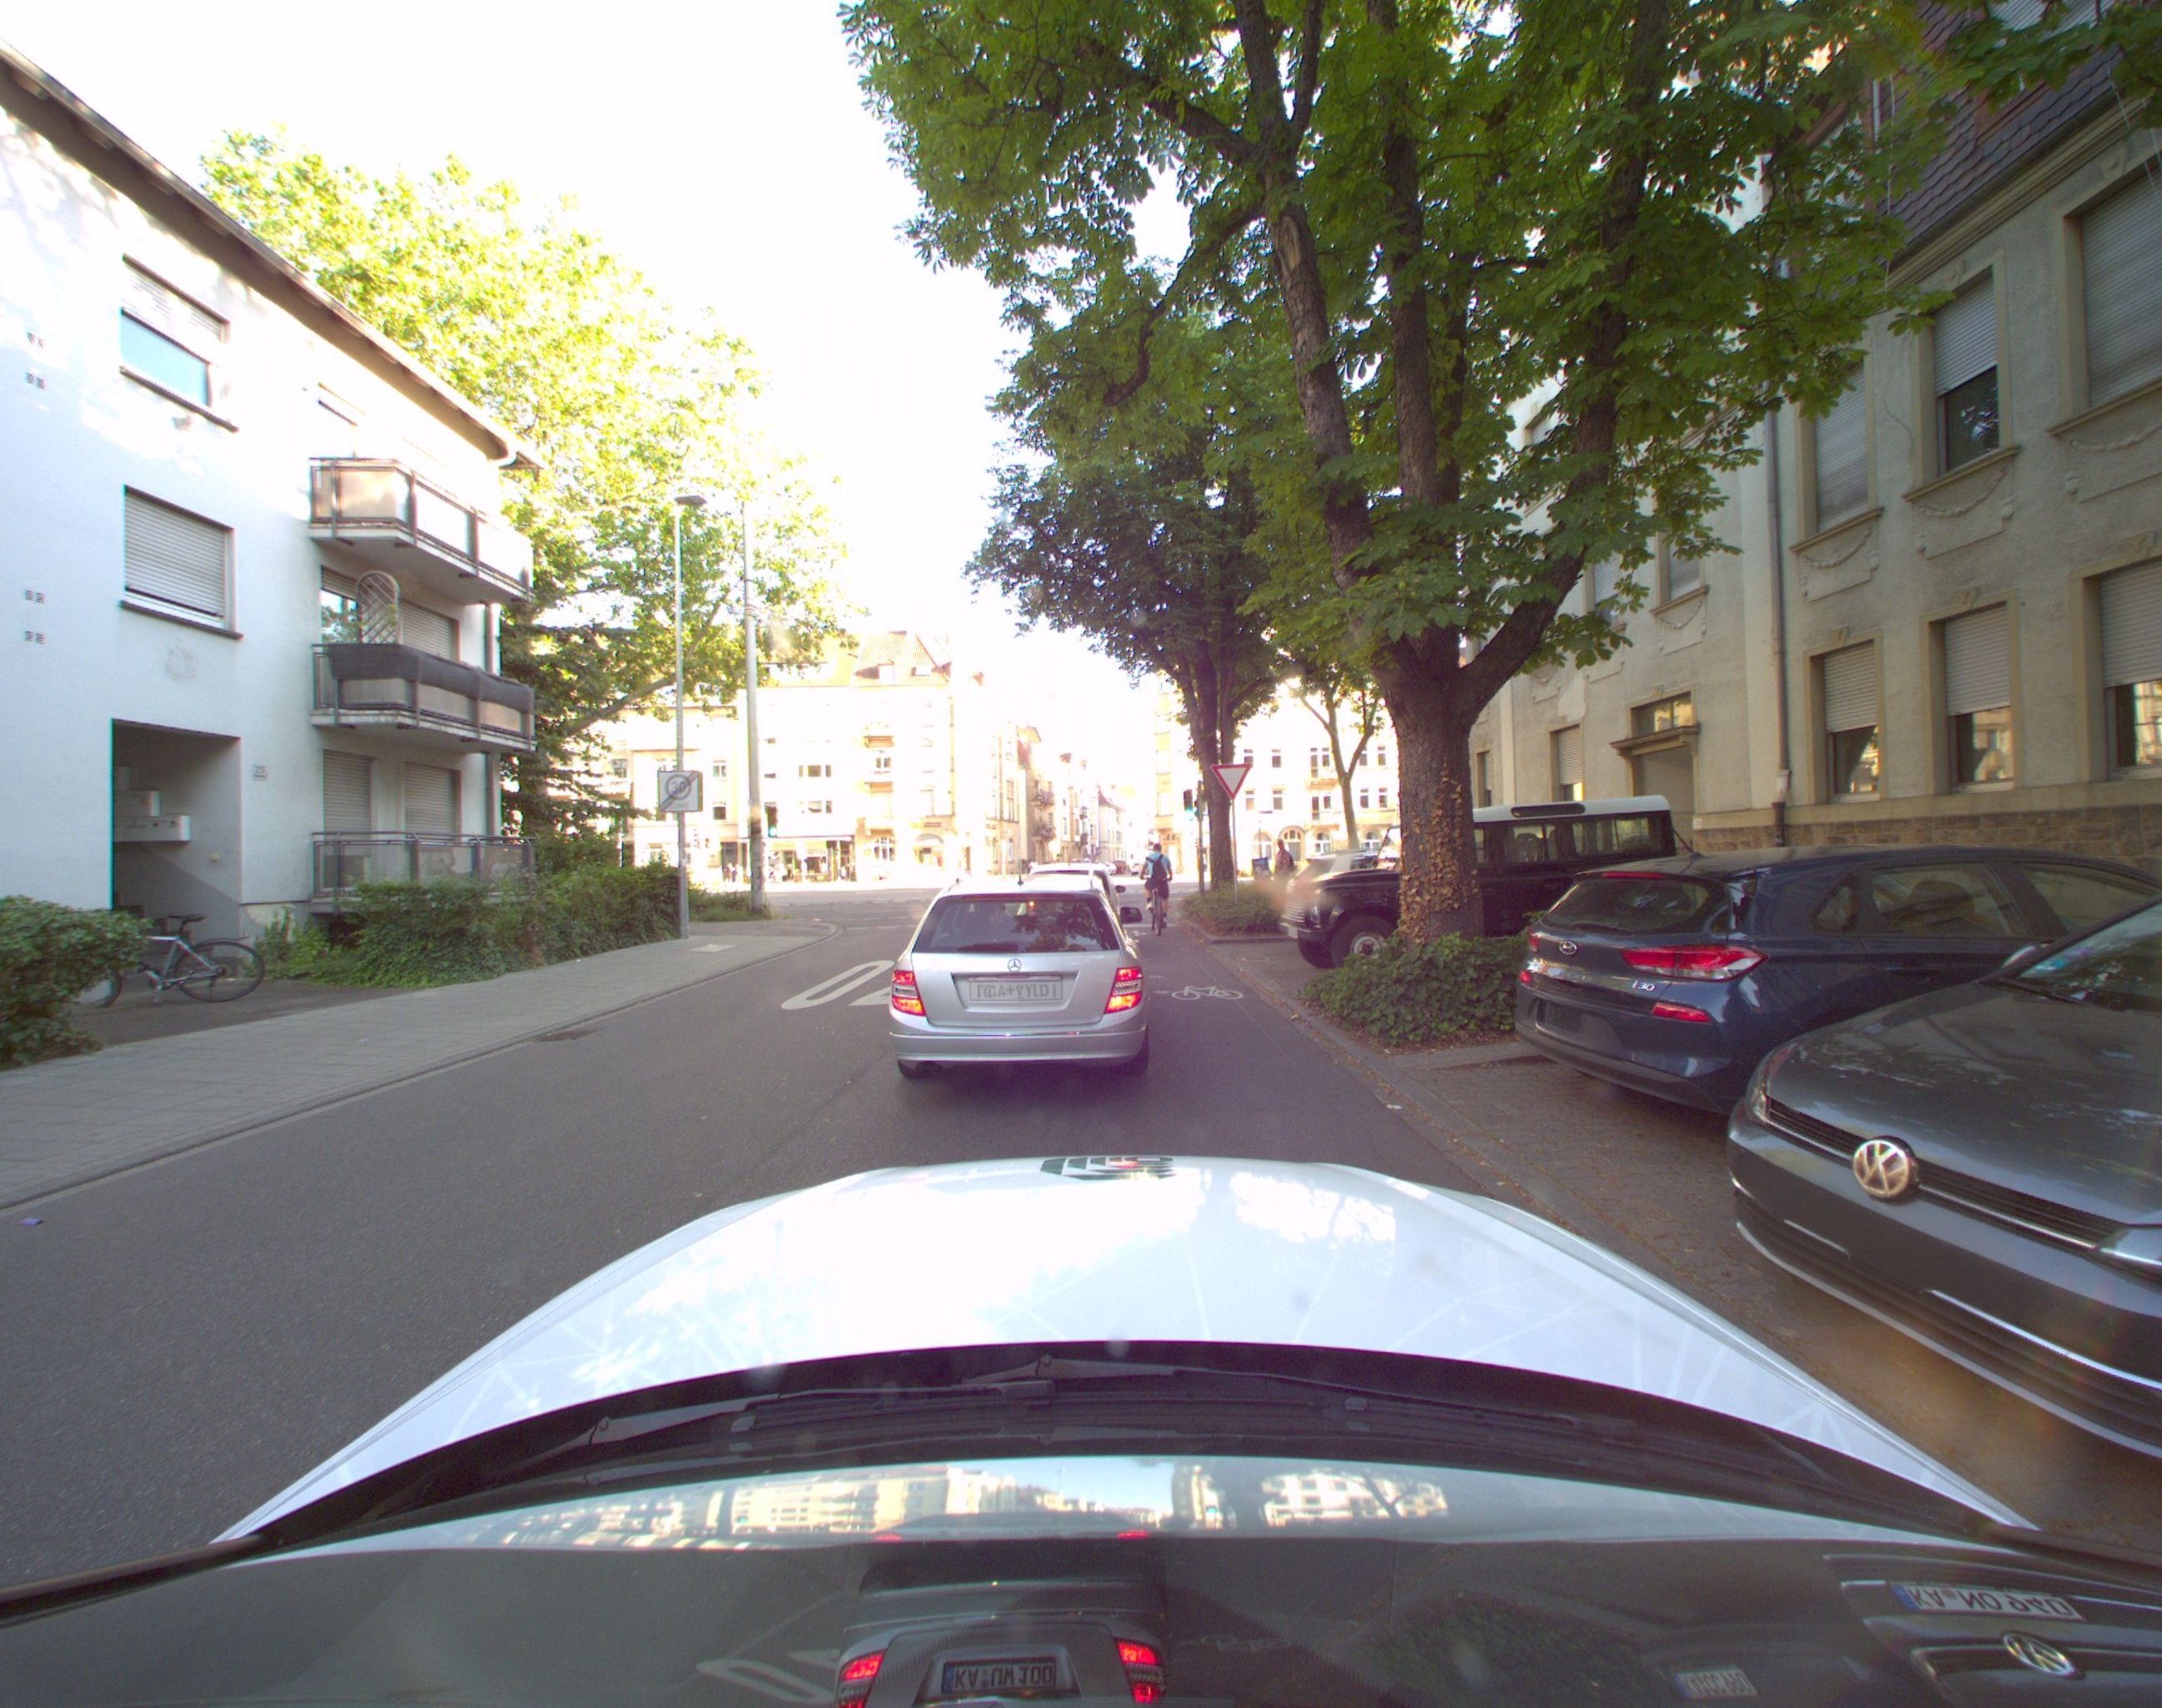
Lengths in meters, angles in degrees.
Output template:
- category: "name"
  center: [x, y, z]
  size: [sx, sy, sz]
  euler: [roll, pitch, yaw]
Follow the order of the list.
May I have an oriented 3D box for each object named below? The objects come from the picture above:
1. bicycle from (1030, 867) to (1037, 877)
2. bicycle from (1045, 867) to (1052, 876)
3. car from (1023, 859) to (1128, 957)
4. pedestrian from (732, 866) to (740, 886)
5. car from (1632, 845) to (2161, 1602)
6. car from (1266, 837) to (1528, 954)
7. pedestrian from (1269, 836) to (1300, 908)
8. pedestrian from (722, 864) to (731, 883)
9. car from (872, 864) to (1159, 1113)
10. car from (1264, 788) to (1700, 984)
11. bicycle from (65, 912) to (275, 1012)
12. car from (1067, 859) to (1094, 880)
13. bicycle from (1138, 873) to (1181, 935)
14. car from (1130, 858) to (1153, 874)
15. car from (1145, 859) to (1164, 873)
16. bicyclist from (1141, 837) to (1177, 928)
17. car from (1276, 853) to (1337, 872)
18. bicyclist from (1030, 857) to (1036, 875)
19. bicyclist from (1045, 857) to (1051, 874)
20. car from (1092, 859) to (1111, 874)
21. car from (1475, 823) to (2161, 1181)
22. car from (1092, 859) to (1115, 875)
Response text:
- category: "bicycle"
  center: [-4.275, 1.614, 72.935]
  size: [0.567, 0.834, 1.565]
  euler: [-1, 0, -1]
- category: "bicycle"
  center: [-2.958, 1.582, 73.351]
  size: [0.567, 0.834, 1.565]
  euler: [-1, 0, -1]
- category: "car"
  center: [-0.072, 0.798, 13.761]
  size: [1.528, 1.391, 3.599]
  euler: [-1, 0, 0]
- category: "pedestrian"
  center: [-27.298, 1.730, 64.478]
  size: [0.510, 1.511, 0.533]
  euler: [-1, 0, -22]
- category: "car"
  center: [4.100, 0.660, 2.242]
  size: [4.037, 1.422, 1.627]
  euler: [-3, -1, -2]
- category: "car"
  center: [4.952, 0.616, 13.057]
  size: [3.475, 1.586, 1.708]
  euler: [-3, 0, -5]
- category: "pedestrian"
  center: [5.339, 0.474, 21.404]
  size: [0.630, 1.845, 0.574]
  euler: [-1, 0, -2]
- category: "pedestrian"
  center: [-27.912, 1.522, 64.208]
  size: [0.566, 1.511, 0.499]
  euler: [-1, 0, -17]
- category: "car"
  center: [-0.403, 0.812, 6.563]
  size: [1.685, 1.429, 3.491]
  euler: [0, 0, -1]
- category: "car"
  center: [4.761, 0.355, 10.133]
  size: [4.478, 1.956, 1.792]
  euler: [-3, 0, -1]
- category: "bicycle"
  center: [-10.015, 1.155, 9.024]
  size: [1.469, 0.975, 0.402]
  euler: [2, -2, -38]
- category: "car"
  center: [0.013, 1.508, 79.861]
  size: [1.926, 1.958, 4.161]
  euler: [-2, 0, 10]
- category: "bicycle"
  center: [1.556, 0.976, 16.427]
  size: [0.739, 1.118, 2.014]
  euler: [0, 0, 2]
- category: "car"
  center: [6.391, 1.253, 85.816]
  size: [1.708, 1.478, 4.016]
  euler: [-3, 0, 14]
- category: "car"
  center: [9.229, 1.491, 101.970]
  size: [1.709, 1.478, 4.016]
  euler: [-6, -1, 14]
- category: "bicyclist"
  center: [1.562, 0.558, 16.401]
  size: [0.644, 1.775, 0.831]
  euler: [0, -1, 1]
- category: "car"
  center: [13.633, 0.501, 49.317]
  size: [3.352, 1.069, 1.380]
  euler: [-2, 0, 0]
- category: "bicyclist"
  center: [-4.284, 1.074, 73.044]
  size: [0.465, 1.514, 0.655]
  euler: [-1, 0, -2]
- category: "bicyclist"
  center: [-3.000, 1.050, 73.411]
  size: [0.465, 1.521, 0.693]
  euler: [-1, 0, -2]
- category: "car"
  center: [2.596, 1.570, 102.754]
  size: [1.639, 1.783, 3.876]
  euler: [-1, -1, 13]
- category: "car"
  center: [4.438, 0.629, 4.443]
  size: [3.739, 1.422, 1.627]
  euler: [-3, -1, -2]
- category: "car"
  center: [2.526, 1.404, 90.306]
  size: [1.675, 1.722, 4.014]
  euler: [-2, 0, 13]
